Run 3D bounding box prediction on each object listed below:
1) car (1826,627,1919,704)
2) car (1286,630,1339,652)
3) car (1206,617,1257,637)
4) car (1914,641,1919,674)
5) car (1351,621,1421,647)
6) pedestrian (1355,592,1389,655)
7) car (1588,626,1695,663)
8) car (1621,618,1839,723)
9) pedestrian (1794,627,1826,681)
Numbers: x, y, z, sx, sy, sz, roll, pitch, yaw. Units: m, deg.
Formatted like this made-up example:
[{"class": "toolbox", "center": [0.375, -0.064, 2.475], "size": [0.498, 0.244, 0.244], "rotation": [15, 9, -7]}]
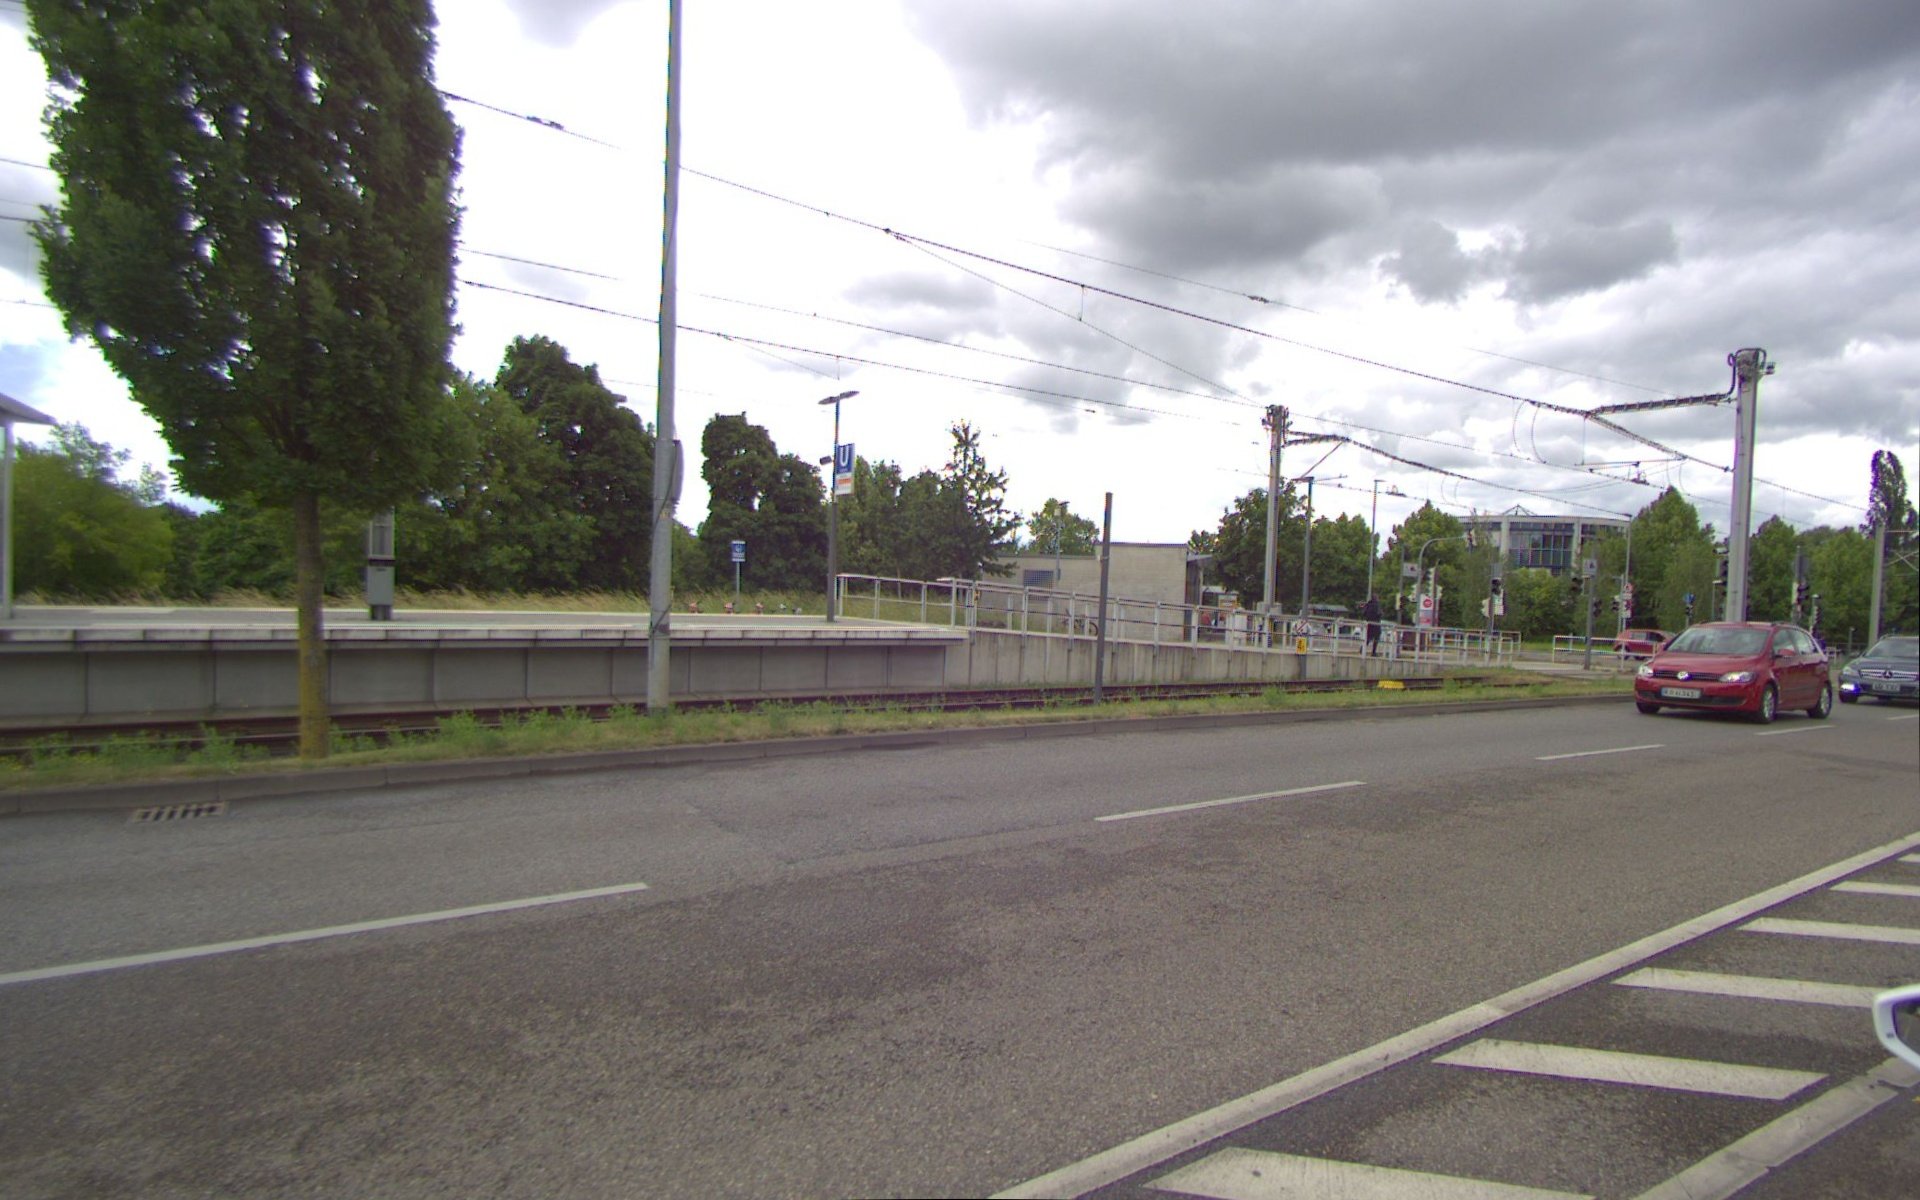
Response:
[{"class": "car", "center": [20.255, 1.342, 21.381], "size": [4.499, 1.458, 1.680], "rotation": [1, 0, -34]}, {"class": "car", "center": [23.160, 2.684, 66.099], "size": [1.530, 1.327, 3.276], "rotation": [2, 0, -22]}, {"class": "car", "center": [19.971, 1.970, 73.960], "size": [1.698, 1.327, 3.729], "rotation": [2, 0, -22]}, {"class": "car", "center": [46.814, 2.716, 46.329], "size": [3.670, 1.528, 1.782], "rotation": [-1, 1, 10]}, {"class": "car", "center": [25.463, 2.030, 60.147], "size": [1.496, 1.395, 3.979], "rotation": [2, 0, -22]}, {"class": "pedestrian", "center": [12.306, 0.706, 30.013], "size": [0.785, 1.852, 0.568], "rotation": [1, 0, -33]}, {"class": "car", "center": [33.299, 2.153, 49.181], "size": [1.712, 1.536, 3.969], "rotation": [3, -1, -29]}, {"class": "car", "center": [12.831, 1.096, 16.670], "size": [4.044, 1.508, 1.692], "rotation": [1, 0, -34]}, {"class": "pedestrian", "center": [25.025, 1.590, 29.585], "size": [0.640, 1.577, 0.354], "rotation": [-1, 1, 5]}]
